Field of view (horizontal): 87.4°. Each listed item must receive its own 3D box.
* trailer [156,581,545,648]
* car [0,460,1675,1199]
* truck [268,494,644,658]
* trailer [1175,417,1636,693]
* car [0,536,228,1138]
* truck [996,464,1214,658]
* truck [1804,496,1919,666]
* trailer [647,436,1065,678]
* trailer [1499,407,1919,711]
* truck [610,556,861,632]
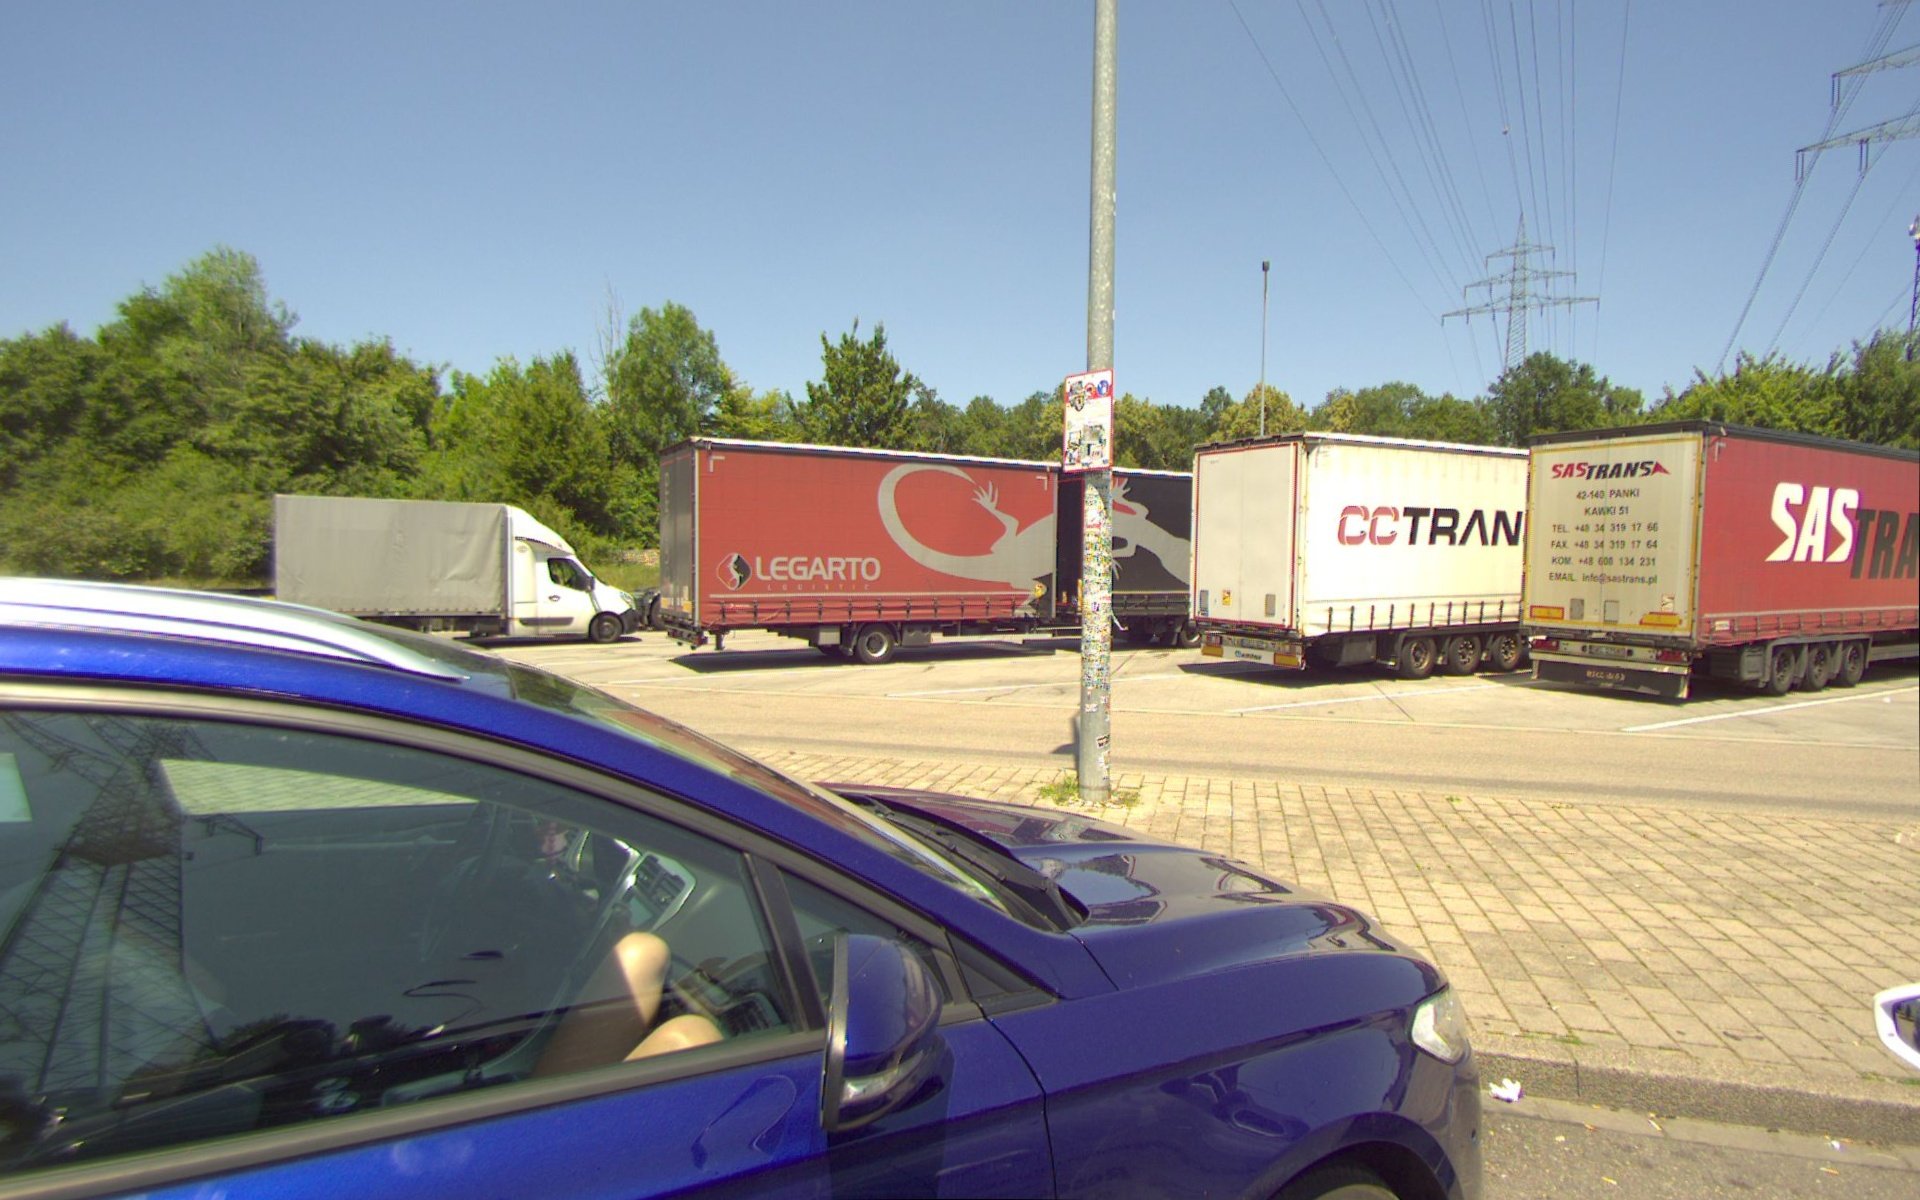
[{"bbox_3d":[-14.834,0.264,25.172,7.996,1.394,2.211,-1,3,-30],"label":"trailer"},{"bbox_3d":[-0.978,0.655,1.458,4.592,1.502,1.727,0,0,-33],"label":"car"},{"bbox_3d":[-11.205,-0.569,22.889,7.254,3.254,2.515,-1,3,-30],"label":"truck"},{"bbox_3d":[8.864,-0.817,19.319,10.049,4.267,2.714,-1,3,-30],"label":"trailer"},{"bbox_3d":[-4.552,0.583,2.242,4.592,1.554,1.726,0,1,-33],"label":"car"},{"bbox_3d":[3.353,-0.900,23.351,4.273,4.072,2.689,-1,3,-30],"label":"truck"},{"bbox_3d":[21.725,-0.428,22.301,5.418,3.475,2.838,-1,3,-30],"label":"truck"},{"bbox_3d":[-1.928,-0.826,20.256,7.996,4.101,2.696,-1,3,-30],"label":"trailer"},{"bbox_3d":[15.404,-0.700,18.555,13.559,4.189,2.892,-1,3,-30],"label":"trailer"},{"bbox_3d":[-6.486,-0.158,29.514,6.961,2.040,1.984,0,0,-30],"label":"truck"}]
